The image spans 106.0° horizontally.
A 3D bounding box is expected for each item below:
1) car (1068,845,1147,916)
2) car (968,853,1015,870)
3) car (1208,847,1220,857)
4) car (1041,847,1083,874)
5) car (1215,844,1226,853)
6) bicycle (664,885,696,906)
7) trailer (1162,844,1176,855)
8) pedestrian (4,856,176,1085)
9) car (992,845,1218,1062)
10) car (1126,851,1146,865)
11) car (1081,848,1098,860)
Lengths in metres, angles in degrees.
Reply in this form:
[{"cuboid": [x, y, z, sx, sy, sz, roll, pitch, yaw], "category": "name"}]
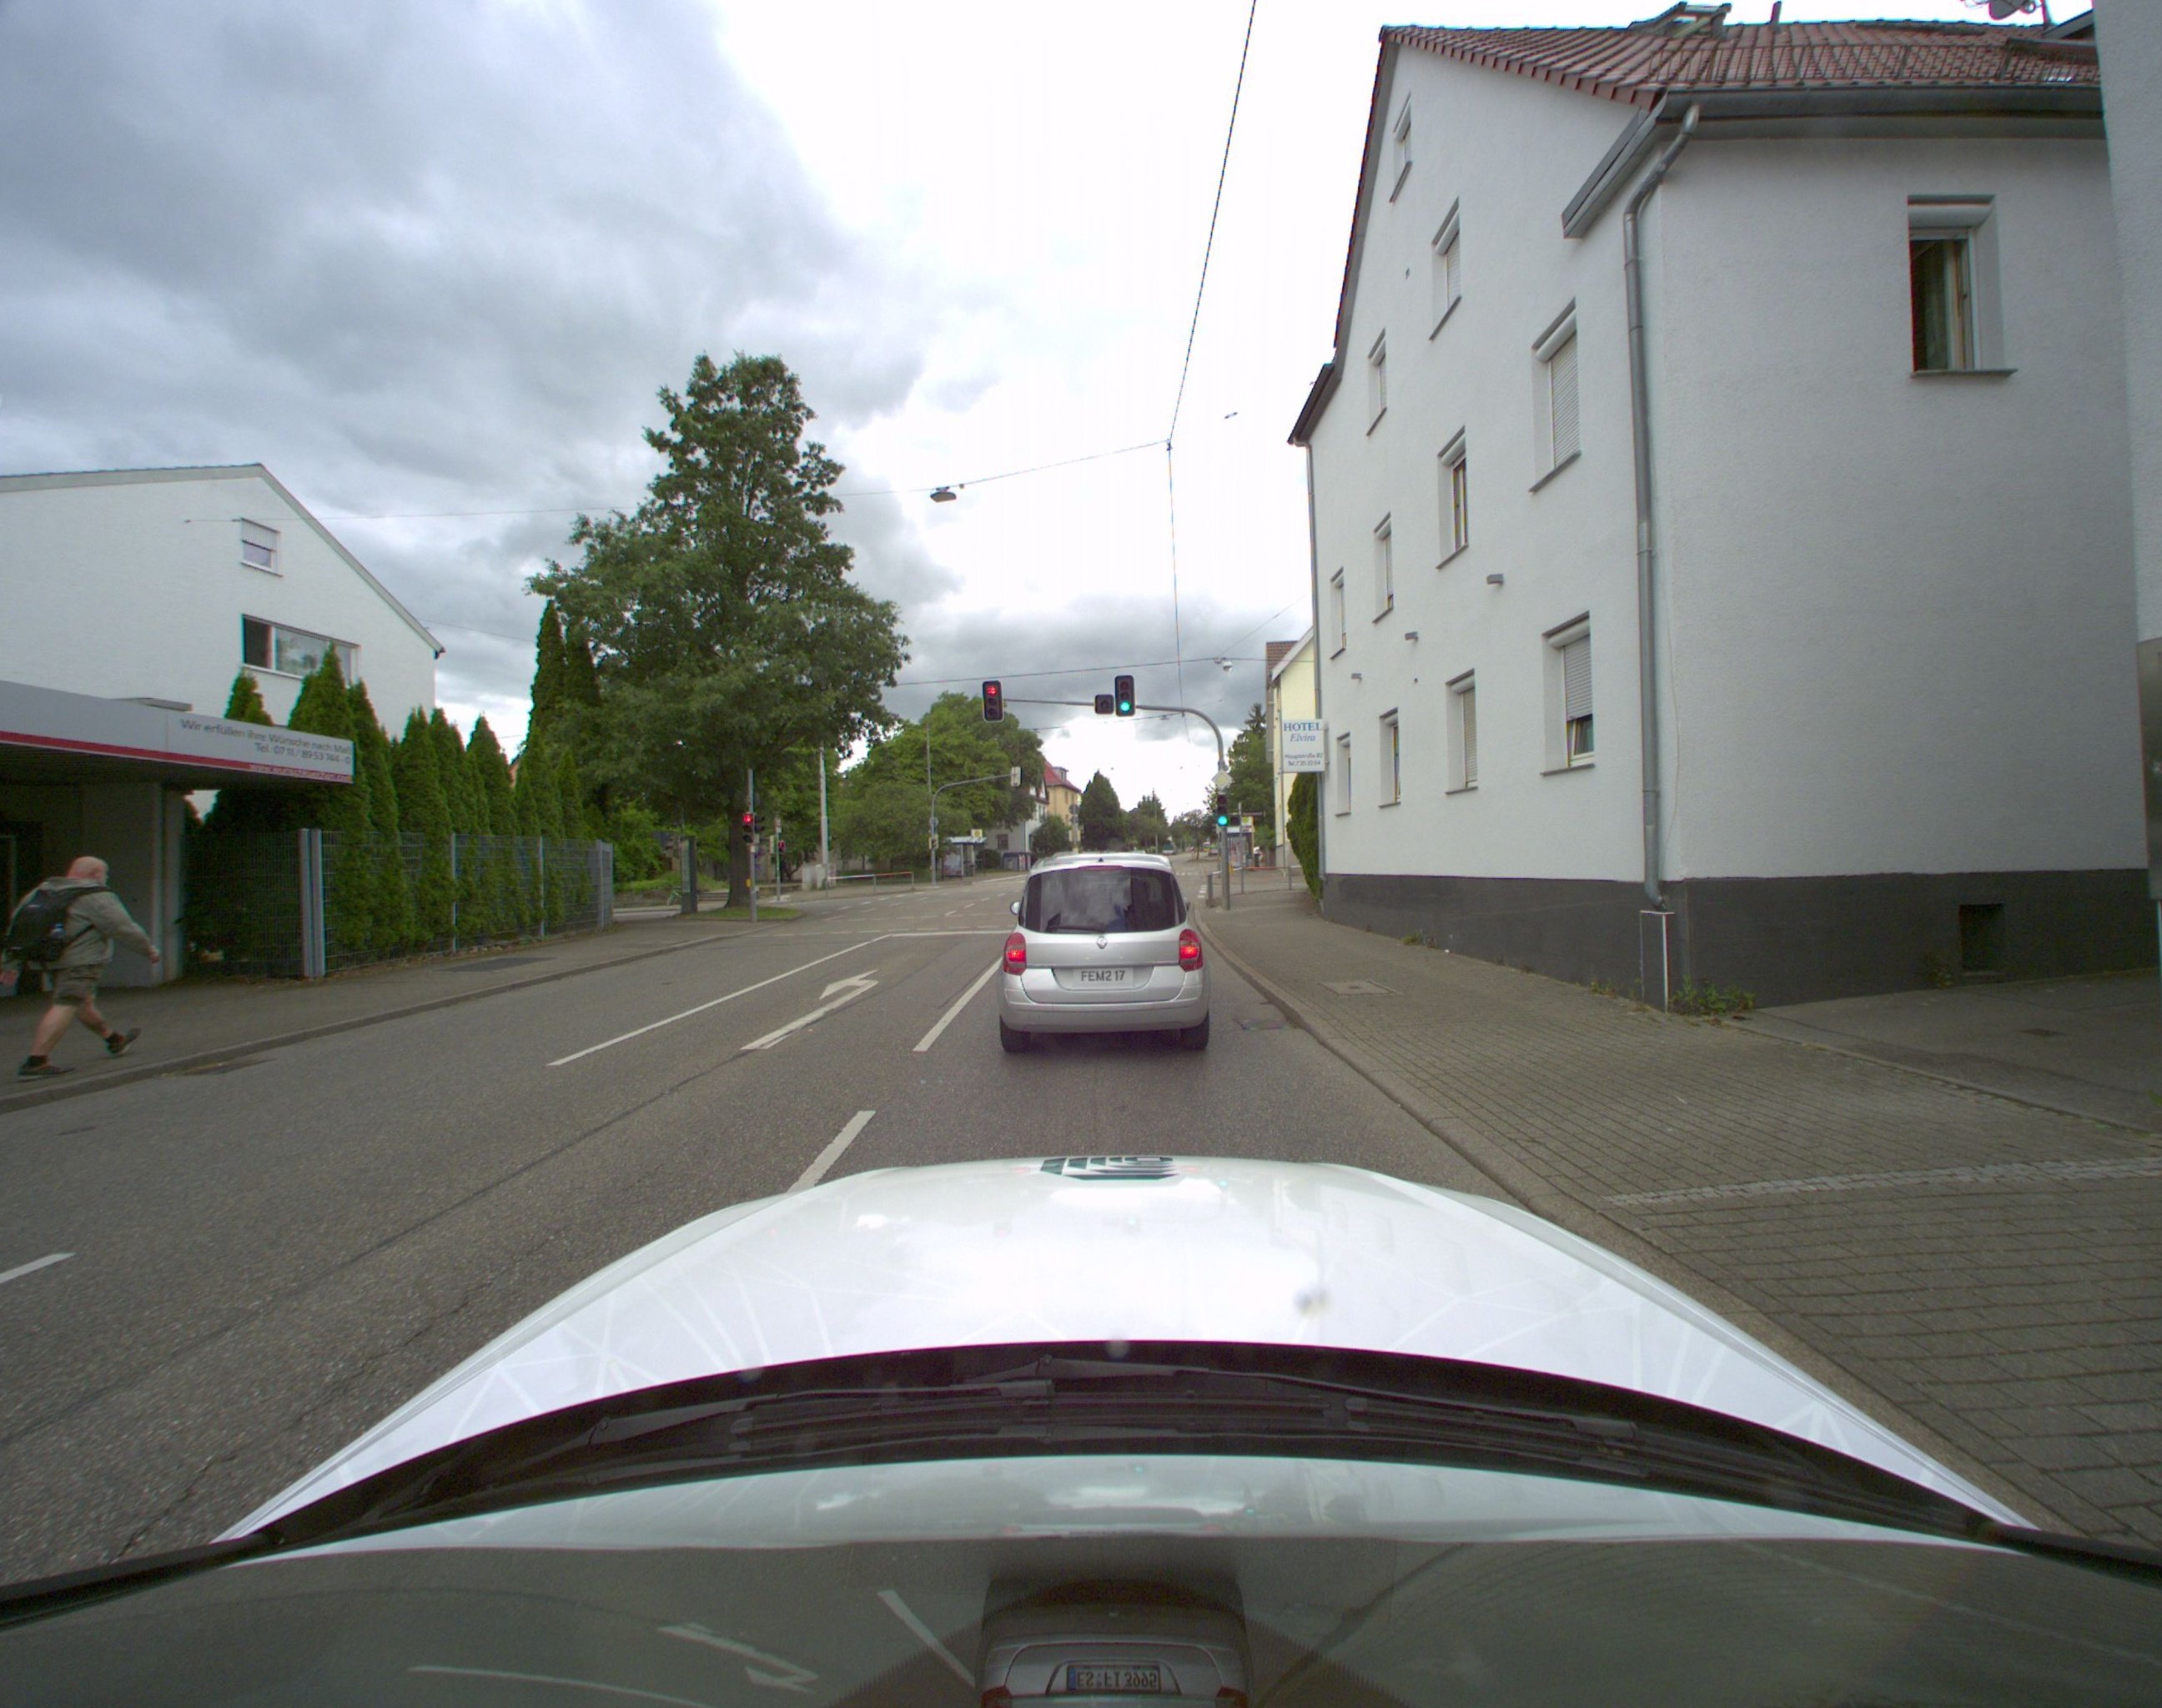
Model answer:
[{"cuboid": [0.785, 0.643, 21.704, 1.820, 1.675, 3.579, -2, 0, 5], "category": "car"}, {"cuboid": [-8.457, 0.741, 76.948, 3.963, 1.332, 1.727, -4, -1, 9], "category": "car"}, {"cuboid": [20.265, -0.254, 123.853, 1.639, 1.382, 4.014, -1, -1, 12], "category": "car"}, {"cuboid": [-1.212, 0.449, 54.023, 1.747, 1.635, 4.609, -4, -1, 11], "category": "car"}, {"cuboid": [24.424, -0.949, 142.745, 1.650, 1.393, 3.682, -2, 0, 14], "category": "car"}, {"cuboid": [-20.174, 2.078, 41.015, 1.312, 0.942, 0.424, -5, 0, -7], "category": "bicycle"}, {"cuboid": [17.910, -0.894, 165.174, 2.297, 2.087, 5.889, -1, -1, 10], "category": "trailer"}, {"cuboid": [-8.425, 0.896, 6.923, 1.213, 1.754, 0.829, -1, -1, 35], "category": "pedestrian"}, {"cuboid": [0.303, 0.727, 7.883, 1.623, 1.557, 4.004, 0, 0, 4], "category": "car"}, {"cuboid": [5.857, 0.476, 86.802, 1.554, 1.420, 4.142, -2, -1, 10], "category": "car"}, {"cuboid": [1.255, -0.012, 115.628, 1.796, 1.564, 4.629, -4, 0, 8], "category": "car"}]
